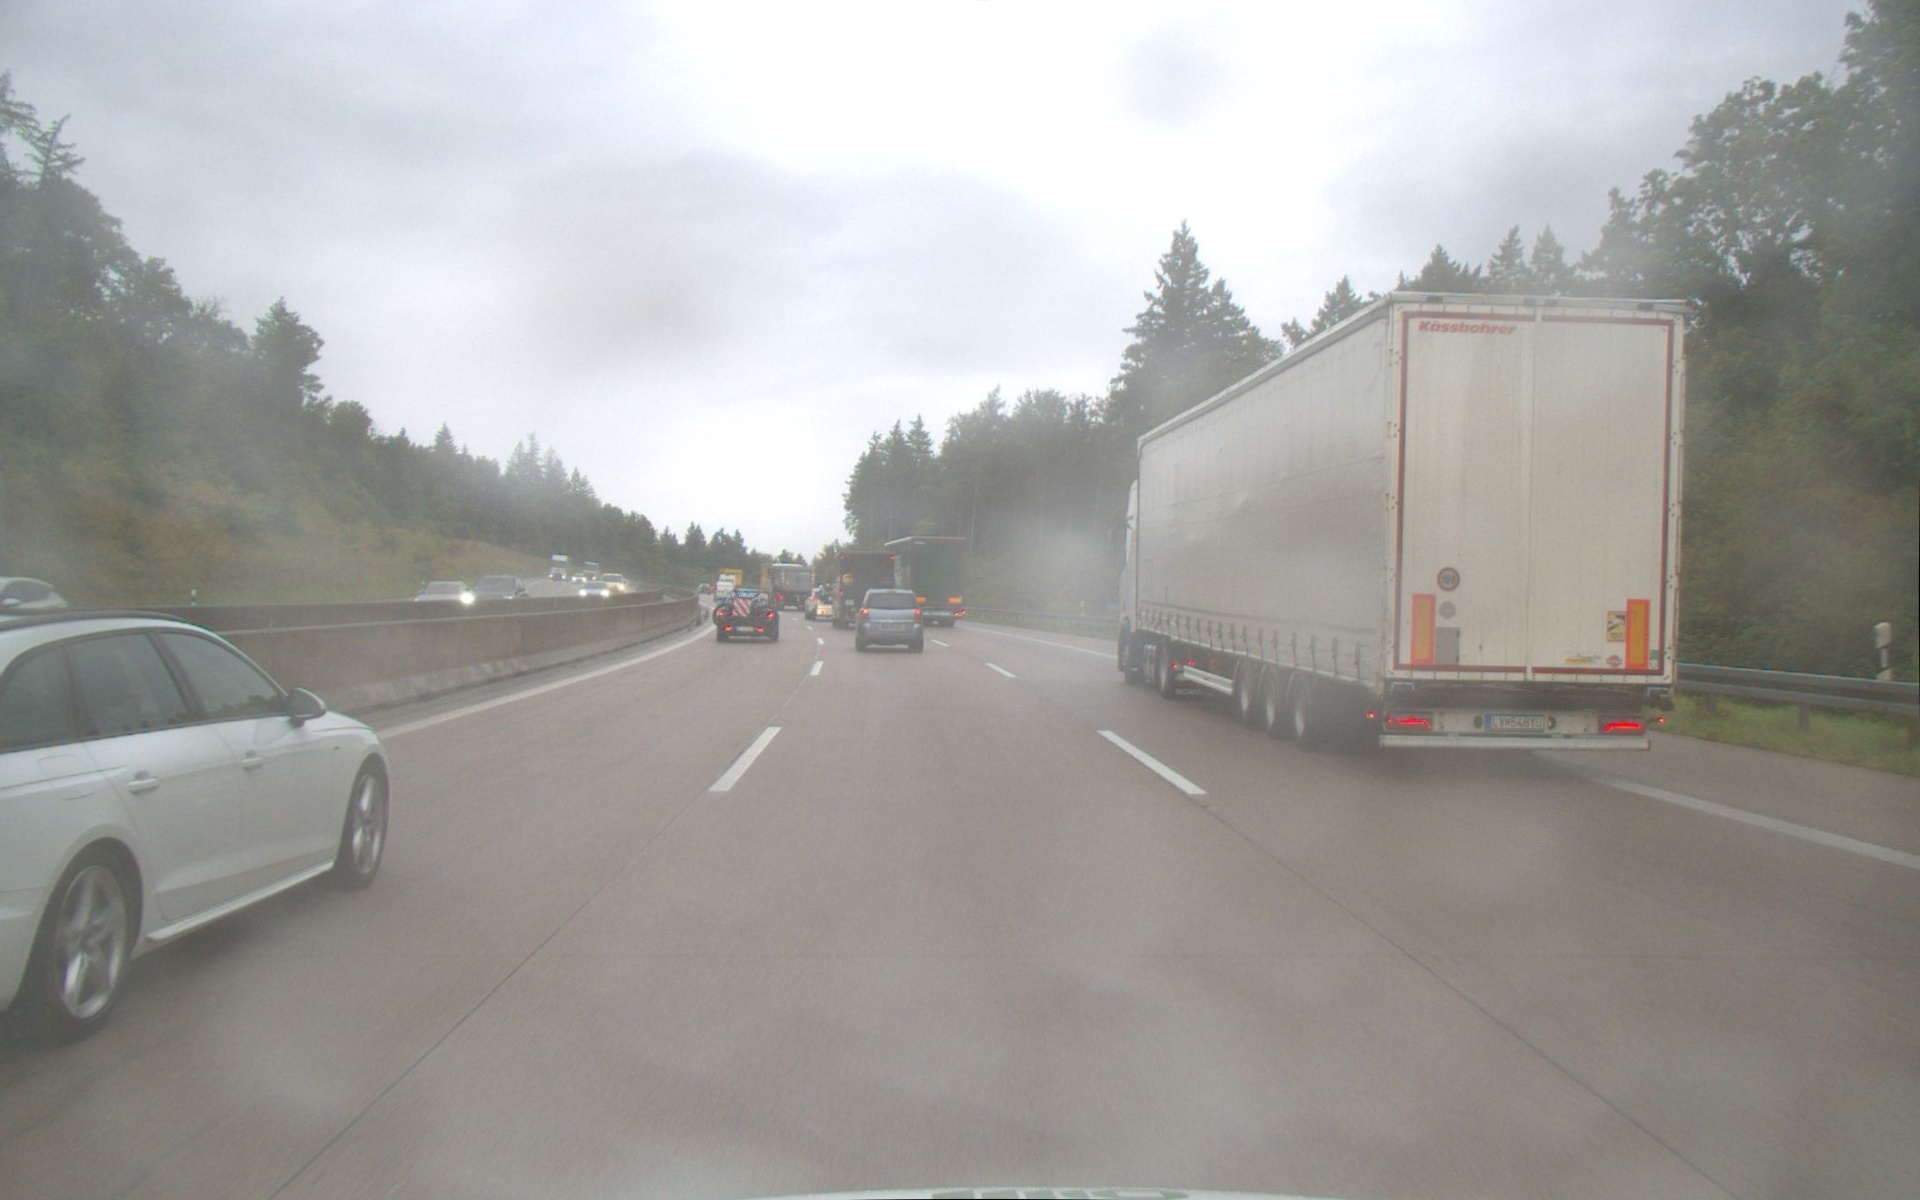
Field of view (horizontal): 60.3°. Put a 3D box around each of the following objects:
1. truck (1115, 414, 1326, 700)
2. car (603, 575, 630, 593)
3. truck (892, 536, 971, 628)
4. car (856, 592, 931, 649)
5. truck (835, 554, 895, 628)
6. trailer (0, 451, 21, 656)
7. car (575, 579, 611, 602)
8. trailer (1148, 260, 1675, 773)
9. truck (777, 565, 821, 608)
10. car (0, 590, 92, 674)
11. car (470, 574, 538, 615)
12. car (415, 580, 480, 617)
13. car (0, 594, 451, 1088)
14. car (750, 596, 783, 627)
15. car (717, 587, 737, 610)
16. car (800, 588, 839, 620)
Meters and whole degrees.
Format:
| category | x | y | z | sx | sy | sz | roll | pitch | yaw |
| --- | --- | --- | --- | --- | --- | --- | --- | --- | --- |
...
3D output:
| category | x | y | z | sx | sy | sz | roll | pitch | yaw |
| --- | --- | --- | --- | --- | --- | --- | --- | --- | --- |
| truck | 4.009 | -0.627 | 26.446 | 2.371 | 4.140 | 4.975 | 0 | 0 | -3 |
| car | -27.394 | -1.240 | 132.072 | 1.590 | 1.417 | 3.997 | 0 | 0 | -4 |
| truck | -1.517 | -0.831 | 80.616 | 3.303 | 4.204 | 10.428 | 0 | 0 | -4 |
| car | -1.806 | 0.519 | 43.880 | 1.525 | 1.375 | 3.676 | 2 | 0 | -9 |
| truck | -4.069 | -0.436 | 69.725 | 2.225 | 2.937 | 7.894 | 0 | 1 | -5 |
| trailer | -21.470 | -0.978 | 29.166 | 2.690 | 4.359 | 13.707 | 0 | 0 | -3 |
| car | -22.987 | -0.580 | 103.723 | 1.590 | 1.417 | 3.997 | 0 | 0 | -4 |
| trailer | 4.351 | -0.686 | 19.421 | 2.371 | 4.139 | 12.048 | 0 | 0 | -3 |
| truck | -11.642 | -1.012 | 118.893 | 3.024 | 2.956 | 7.892 | 0 | 1 | -7 |
| car | -17.052 | 0.531 | 29.187 | 1.590 | 1.417 | 3.997 | 0 | 0 | -4 |
| car | -16.413 | -0.201 | 59.667 | 1.590 | 1.417 | 3.997 | 0 | 0 | -4 |
| car | -20.195 | -0.076 | 65.322 | 1.590 | 1.417 | 3.997 | 0 | 0 | -4 |
| car | -3.639 | 0.700 | 6.681 | 1.677 | 1.431 | 4.935 | 0 | 0 | -1 |
| car | -9.958 | 0.581 | 85.303 | 1.651 | 1.488 | 3.679 | 2 | 0 | -6 |
| car | -21.484 | -0.093 | 152.590 | 1.692 | 2.049 | 3.651 | 0 | -1 | -7 |
| car | -7.084 | 0.201 | 83.525 | 1.844 | 1.499 | 3.997 | 2 | 0 | -4 |
